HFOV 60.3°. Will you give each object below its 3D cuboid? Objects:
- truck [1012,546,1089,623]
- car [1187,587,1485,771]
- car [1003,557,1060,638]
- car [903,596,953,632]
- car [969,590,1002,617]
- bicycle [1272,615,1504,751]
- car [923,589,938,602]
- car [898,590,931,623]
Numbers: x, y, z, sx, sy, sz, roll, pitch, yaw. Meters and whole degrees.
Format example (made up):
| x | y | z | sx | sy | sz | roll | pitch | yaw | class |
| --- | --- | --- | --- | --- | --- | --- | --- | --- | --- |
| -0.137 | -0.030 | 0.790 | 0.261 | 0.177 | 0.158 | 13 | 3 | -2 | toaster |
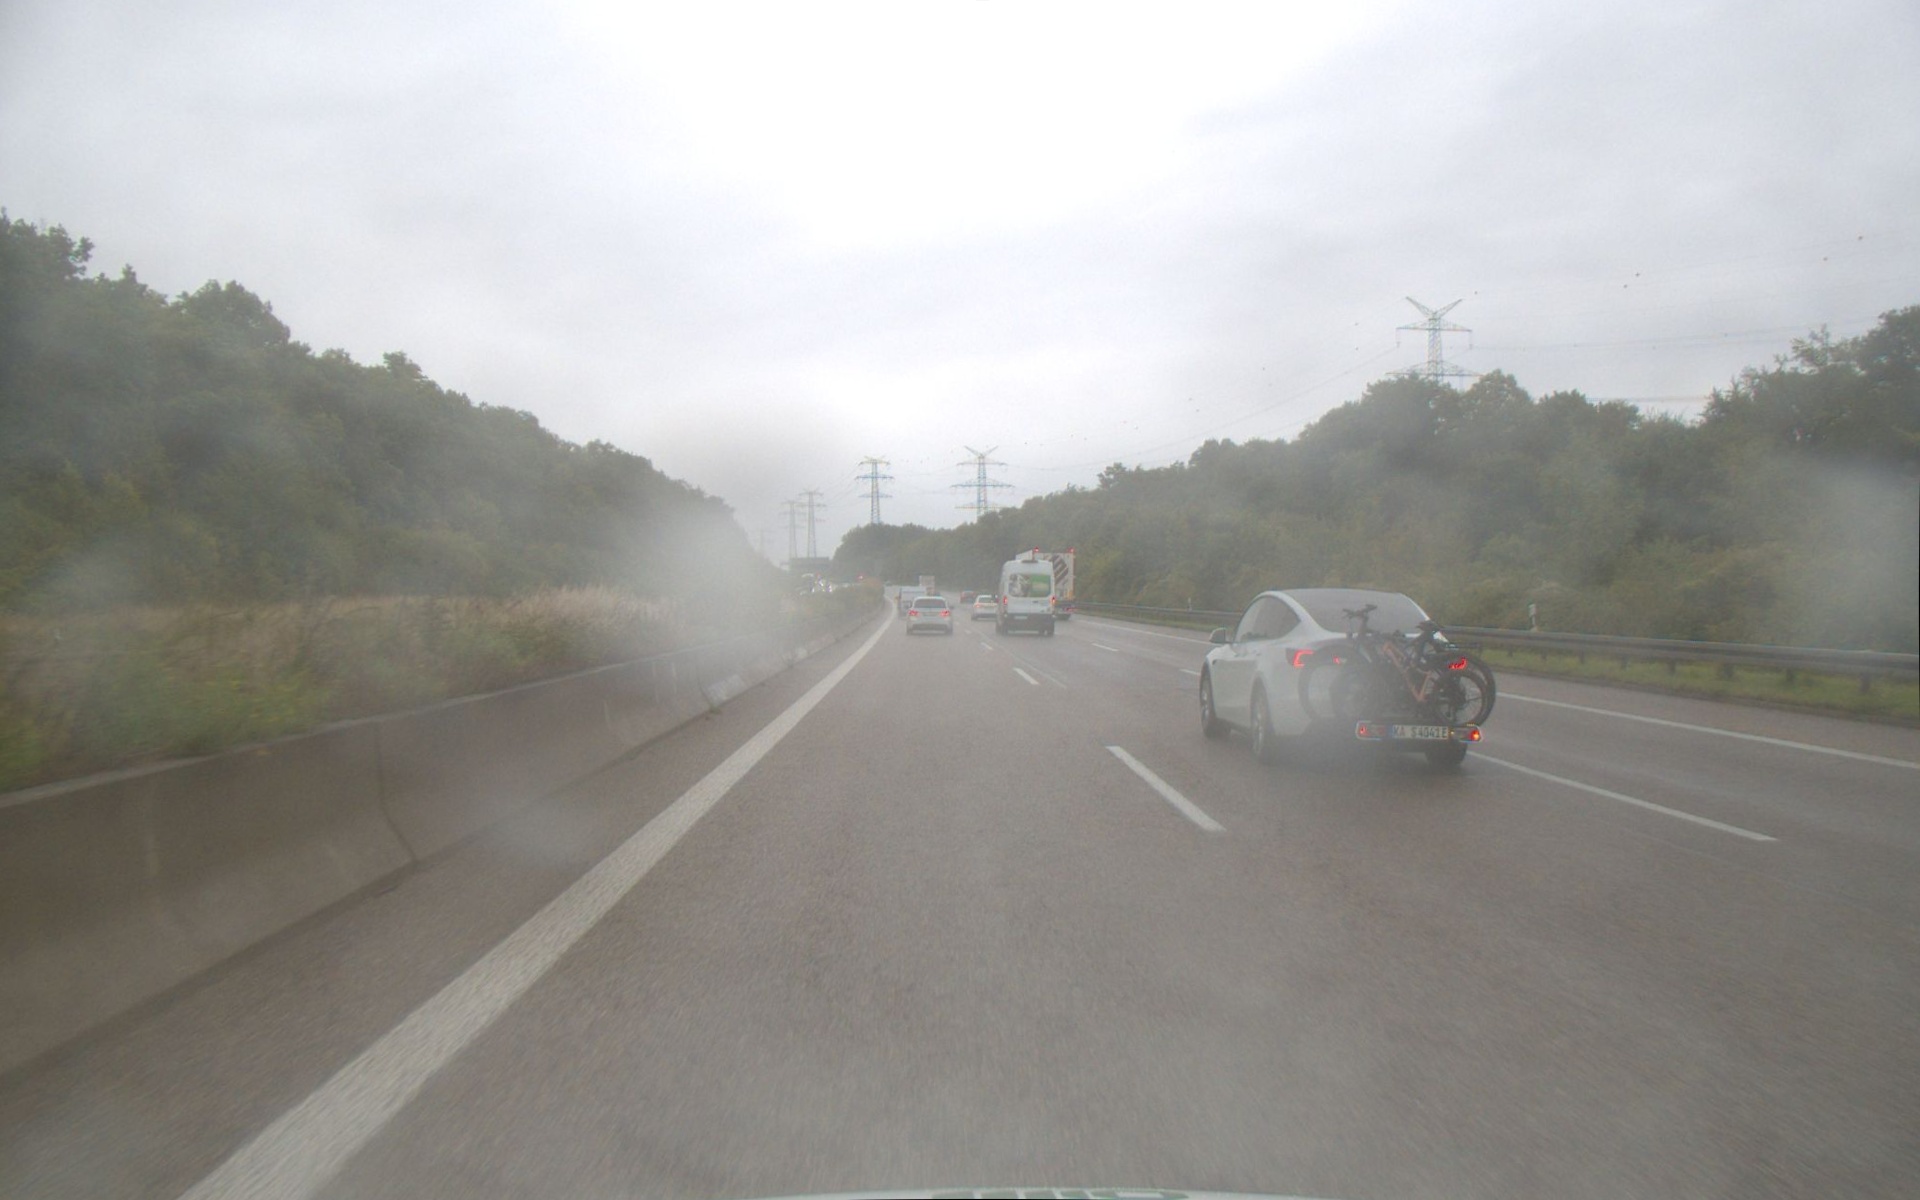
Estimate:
| x | y | z | sx | sy | sz | roll | pitch | yaw | class |
| --- | --- | --- | --- | --- | --- | --- | --- | --- | --- |
| 5.463 | -0.886 | 102.265 | 3.531 | 4.408 | 13.194 | -1 | 0 | -2 | truck |
| 3.625 | 0.683 | 16.915 | 1.822 | 1.595 | 4.962 | 0 | 0 | -1 | car |
| 2.674 | -0.070 | 62.855 | 1.952 | 2.914 | 4.000 | 2 | -1 | 0 | car |
| -1.197 | 0.502 | 62.677 | 1.828 | 1.311 | 3.999 | 0 | 0 | -1 | car |
| 1.453 | 0.186 | 94.124 | 1.819 | 1.447 | 4.000 | 0 | 0 | 0 | car |
| 3.576 | 0.683 | 13.938 | 1.717 | 1.110 | 0.913 | 0 | -1 | 0 | bicycle |
| -3.850 | -0.571 | 216.144 | 1.953 | 1.601 | 3.999 | -2 | -1 | -1 | car |
| -2.594 | 0.358 | 94.999 | 1.808 | 1.803 | 3.999 | 0 | 0 | -1 | car |
